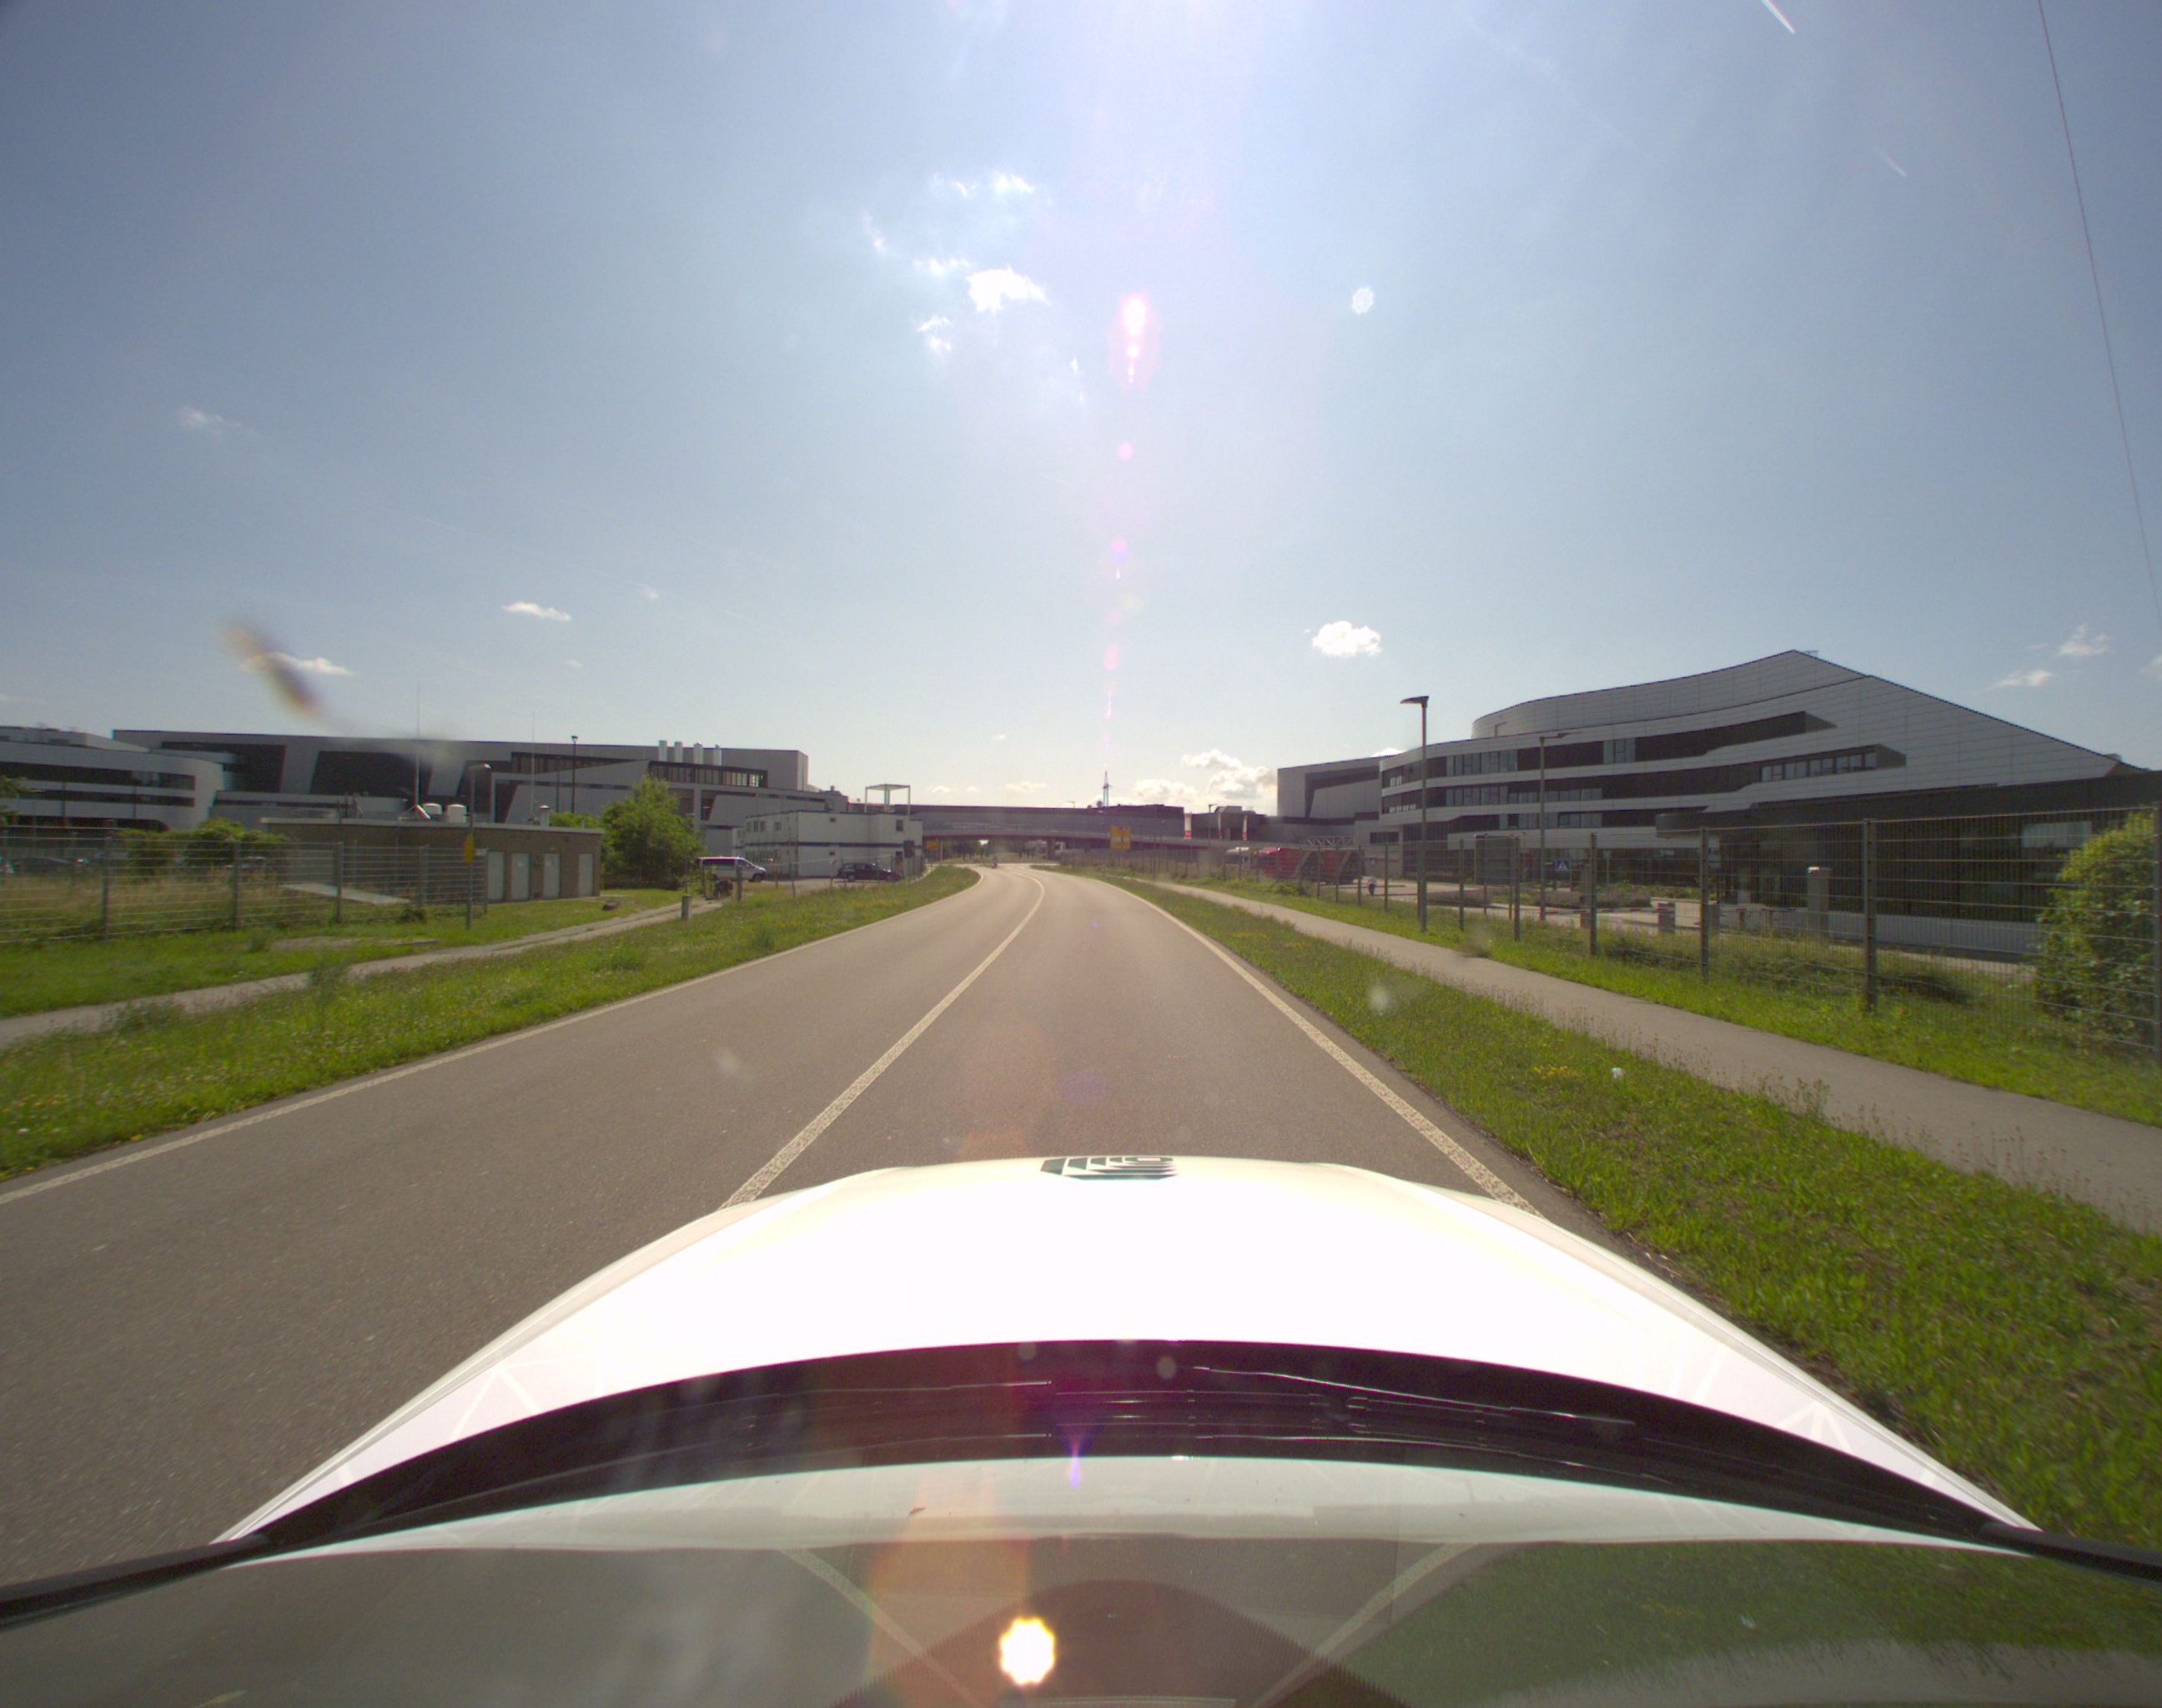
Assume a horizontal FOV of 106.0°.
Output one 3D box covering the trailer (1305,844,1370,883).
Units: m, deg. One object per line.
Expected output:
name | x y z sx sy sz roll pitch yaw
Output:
trailer | 30.039 1.082 95.142 8.761 4.296 2.993 0 -1 -41

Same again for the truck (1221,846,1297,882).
truck | 21.445 1.158 97.736 11.031 4.173 2.789 0 -1 -41

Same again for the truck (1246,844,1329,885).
truck | 22.593 1.080 88.673 11.032 4.256 2.993 0 -1 -41

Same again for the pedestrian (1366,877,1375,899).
pedestrian | 21.923 2.554 61.675 0.482 1.653 0.573 1 -1 -4

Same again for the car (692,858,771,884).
car | -25.832 1.236 60.344 5.044 1.867 1.978 1 -1 -37

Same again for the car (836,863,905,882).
car | -16.068 1.411 62.067 4.981 1.417 1.988 0 0 -18

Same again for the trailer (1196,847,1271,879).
trailer | 22.767 1.308 120.372 14.138 4.438 2.733 0 -1 -42
